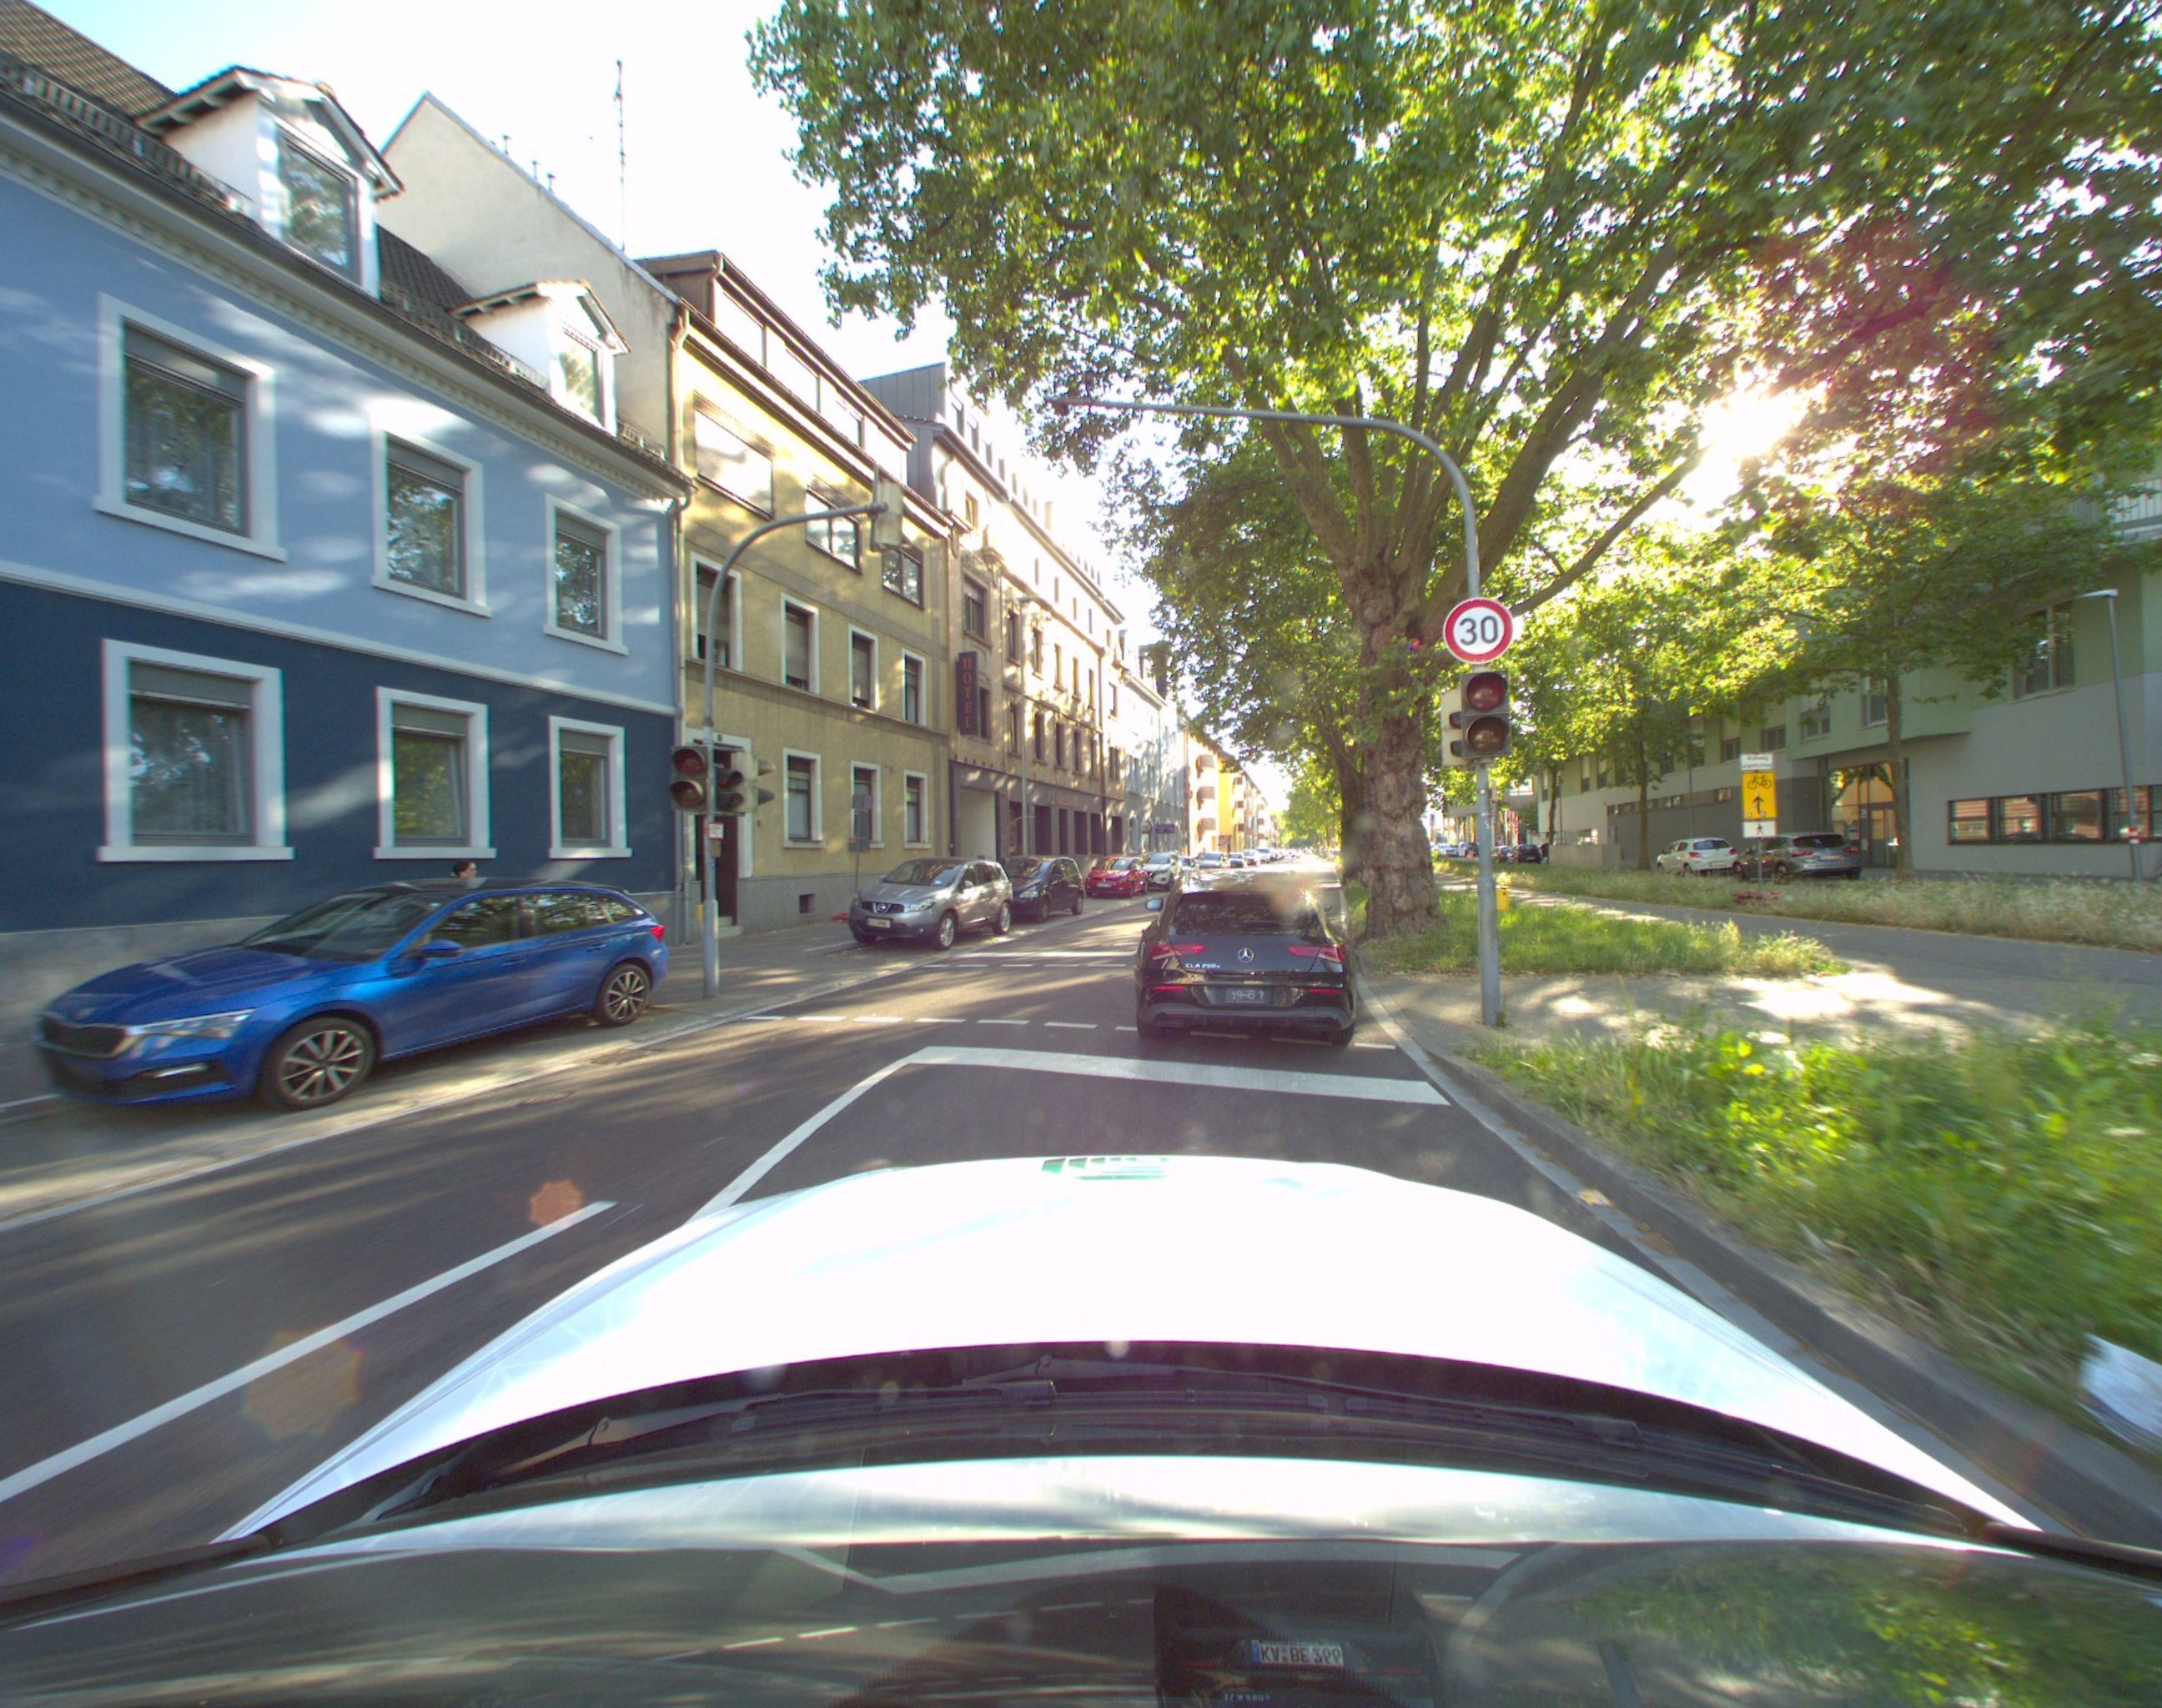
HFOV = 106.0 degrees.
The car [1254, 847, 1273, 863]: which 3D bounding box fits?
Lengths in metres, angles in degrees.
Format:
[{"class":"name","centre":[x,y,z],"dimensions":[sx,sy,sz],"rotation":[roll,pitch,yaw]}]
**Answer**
[{"class":"car","centre":[22.050,0.099,98.136],"dimensions":[1.720,1.907,5.233],"rotation":[0,0,18]}]

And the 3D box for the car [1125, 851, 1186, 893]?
[{"class":"car","centre":[3.210,0.701,34.209],"dimensions":[1.664,1.584,4.219],"rotation":[0,0,18]}]

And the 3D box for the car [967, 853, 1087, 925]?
[{"class":"car","centre":[-1.260,0.794,20.550],"dimensions":[1.664,1.605,3.724],"rotation":[0,0,20]}]

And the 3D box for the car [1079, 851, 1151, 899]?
[{"class":"car","centre":[1.307,0.708,29.661],"dimensions":[1.664,1.592,3.774],"rotation":[0,0,18]}]

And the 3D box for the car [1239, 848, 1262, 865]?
[{"class":"car","centre":[16.388,0.223,78.622],"dimensions":[1.664,1.523,4.039],"rotation":[0,0,18]}]

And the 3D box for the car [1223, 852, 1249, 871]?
[{"class":"car","centre":[12.577,0.573,65.896],"dimensions":[1.664,1.486,3.618],"rotation":[0,0,18]}]

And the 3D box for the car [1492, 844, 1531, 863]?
[{"class":"car","centre":[34.706,-0.073,65.803],"dimensions":[1.845,1.468,4.140],"rotation":[-2,0,15]}]

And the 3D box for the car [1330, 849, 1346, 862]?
[{"class":"car","centre":[31.475,0.221,99.673],"dimensions":[1.623,1.468,4.037],"rotation":[-3,-1,15]}]

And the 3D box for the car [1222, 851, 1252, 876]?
[{"class":"car","centre":[11.172,0.645,58.214],"dimensions":[1.664,1.641,4.003],"rotation":[0,0,18]}]

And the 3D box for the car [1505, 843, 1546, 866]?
[{"class":"car","centre":[32.442,0.023,59.513],"dimensions":[1.844,1.552,3.776],"rotation":[-2,0,17]}]

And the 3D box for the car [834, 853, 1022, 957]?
[{"class":"car","centre":[-2.757,0.837,15.706],"dimensions":[1.767,1.673,4.175],"rotation":[0,0,18]}]

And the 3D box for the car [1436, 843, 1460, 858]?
[{"class":"car","centre":[44.507,-0.441,98.768],"dimensions":[1.862,1.733,4.196],"rotation":[-2,0,14]}]

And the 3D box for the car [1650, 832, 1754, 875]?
[{"class":"car","centre":[24.366,-0.011,32.148],"dimensions":[1.844,1.543,4.339],"rotation":[-2,0,17]}]

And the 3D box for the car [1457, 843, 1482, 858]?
[{"class":"car","centre":[46.675,-0.440,97.910],"dimensions":[1.971,1.733,4.197],"rotation":[-2,0,15]}]

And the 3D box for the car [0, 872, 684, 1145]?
[{"class":"car","centre":[-5.749,0.972,7.131],"dimensions":[1.638,1.486,4.280],"rotation":[0,0,16]}]

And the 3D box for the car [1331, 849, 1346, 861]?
[{"class":"car","centre":[33.613,0.138,106.428],"dimensions":[1.796,1.539,4.603],"rotation":[-4,-1,17]}]

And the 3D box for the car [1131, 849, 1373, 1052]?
[{"class":"car","centre":[1.447,0.686,7.944],"dimensions":[1.735,1.443,3.975],"rotation":[0,0,6]}]

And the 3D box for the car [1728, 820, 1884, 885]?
[{"class":"car","centre":[22.006,-0.050,24.981],"dimensions":[1.890,1.771,4.339],"rotation":[-2,0,17]}]

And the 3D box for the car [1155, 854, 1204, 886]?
[{"class":"car","centre":[4.940,0.752,40.452],"dimensions":[1.664,1.496,3.889],"rotation":[0,0,18]}]

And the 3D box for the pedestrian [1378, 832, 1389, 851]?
[{"class":"pedestrian","centre":[29.610,-1.218,79.629],"dimensions":[0.764,1.761,0.665],"rotation":[-3,-1,5]}]

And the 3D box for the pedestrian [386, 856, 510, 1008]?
[{"class":"pedestrian","centre":[-6.985,0.818,9.006],"dimensions":[0.697,1.570,0.871],"rotation":[-2,0,31]}]

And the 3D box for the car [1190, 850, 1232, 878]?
[{"class":"car","centre":[8.096,0.599,50.551],"dimensions":[1.893,1.641,4.598],"rotation":[0,0,18]}]

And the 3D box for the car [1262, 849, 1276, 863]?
[{"class":"car","centre":[25.632,0.251,110.964],"dimensions":[1.732,1.787,4.567],"rotation":[0,0,15]}]

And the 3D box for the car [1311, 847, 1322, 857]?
[{"class":"car","centre":[49.418,-0.323,170.813],"dimensions":[1.980,2.014,4.013],"rotation":[-1,-1,12]}]

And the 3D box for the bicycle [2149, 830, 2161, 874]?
[{"class":"bicycle","centre":[26.234,-0.075,18.887],"dimensions":[1.658,1.018,0.592],"rotation":[-2,0,35]}]
